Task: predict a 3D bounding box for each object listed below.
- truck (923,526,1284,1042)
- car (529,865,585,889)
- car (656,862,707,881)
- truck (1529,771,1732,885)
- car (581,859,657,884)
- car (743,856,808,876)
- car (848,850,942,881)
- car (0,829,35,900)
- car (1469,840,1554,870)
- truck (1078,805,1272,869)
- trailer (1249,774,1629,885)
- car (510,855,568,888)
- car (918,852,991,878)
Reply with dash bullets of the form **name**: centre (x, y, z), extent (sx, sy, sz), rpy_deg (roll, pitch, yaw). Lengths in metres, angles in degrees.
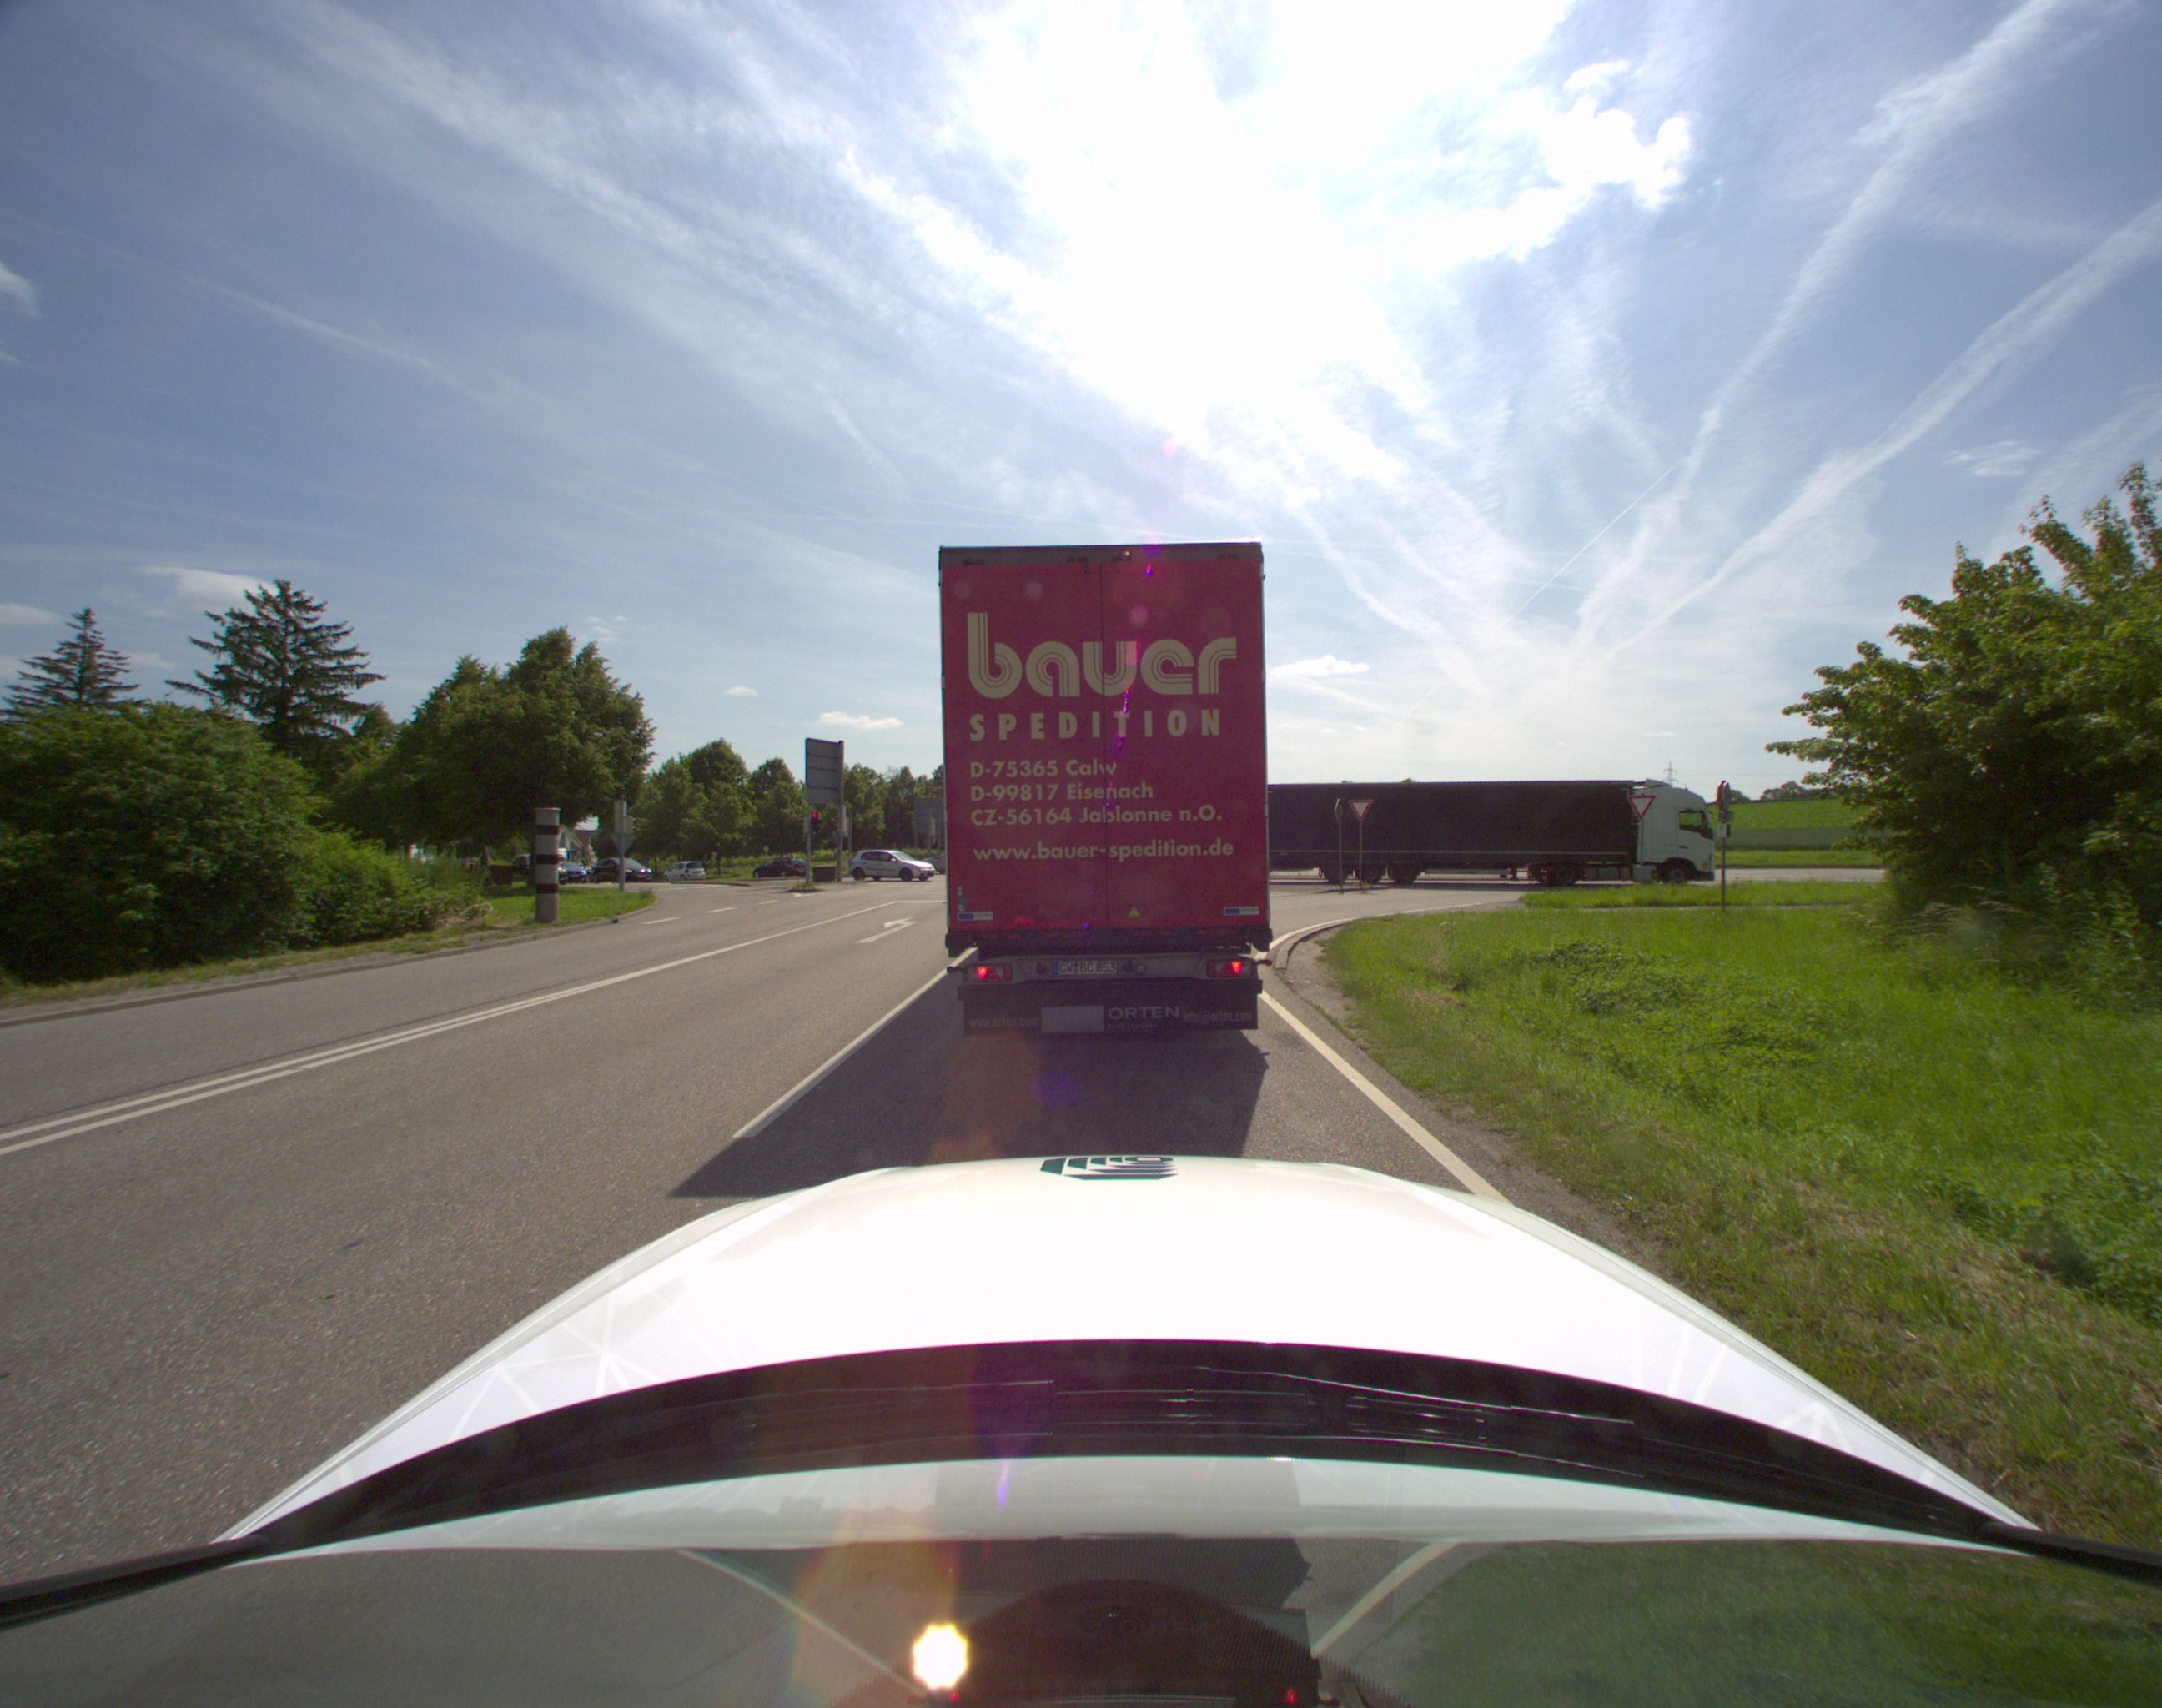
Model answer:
- **truck**: centre (0.401, -0.590, 14.573), extent (2.724, 3.925, 16.631), rpy_deg (-1, 0, 2)
- **car**: centre (-33.240, 1.401, 51.645), extent (4.226, 1.429, 1.753), rpy_deg (-1, 0, 39)
- **car**: centre (-29.855, 1.279, 60.881), extent (3.811, 1.357, 1.687), rpy_deg (0, -1, 32)
- **truck**: centre (20.735, -0.944, 31.078), extent (5.788, 4.061, 2.807), rpy_deg (0, 1, 11)
- **car**: centre (-26.010, 0.960, 45.835), extent (4.226, 1.305, 1.753), rpy_deg (0, 2, 30)
- **car**: centre (-20.421, 0.817, 54.389), extent (4.226, 1.305, 1.752), rpy_deg (-1, 0, 29)
- **car**: centre (-8.914, 0.536, 39.082), extent (4.002, 1.416, 1.803), rpy_deg (0, 1, 18)
- **car**: centre (-35.450, 0.322, 24.420), extent (4.601, 2.180, 1.985), rpy_deg (0, 0, -22)
- **car**: centre (23.364, 0.033, 44.343), extent (3.952, 1.596, 1.673), rpy_deg (0, 0, 23)
- **truck**: centre (6.062, -1.122, 56.135), extent (14.148, 3.979, 3.046), rpy_deg (0, 1, 42)
- **trailer**: centre (13.768, -0.878, 32.696), extent (13.587, 4.061, 2.809), rpy_deg (0, 1, 13)
- **car**: centre (-28.668, 0.894, 43.039), extent (1.820, 1.597, 4.217), rpy_deg (-1, 1, -44)
- **car**: centre (-7.549, 0.653, 48.617), extent (3.963, 1.491, 1.544), rpy_deg (-1, -1, 17)
